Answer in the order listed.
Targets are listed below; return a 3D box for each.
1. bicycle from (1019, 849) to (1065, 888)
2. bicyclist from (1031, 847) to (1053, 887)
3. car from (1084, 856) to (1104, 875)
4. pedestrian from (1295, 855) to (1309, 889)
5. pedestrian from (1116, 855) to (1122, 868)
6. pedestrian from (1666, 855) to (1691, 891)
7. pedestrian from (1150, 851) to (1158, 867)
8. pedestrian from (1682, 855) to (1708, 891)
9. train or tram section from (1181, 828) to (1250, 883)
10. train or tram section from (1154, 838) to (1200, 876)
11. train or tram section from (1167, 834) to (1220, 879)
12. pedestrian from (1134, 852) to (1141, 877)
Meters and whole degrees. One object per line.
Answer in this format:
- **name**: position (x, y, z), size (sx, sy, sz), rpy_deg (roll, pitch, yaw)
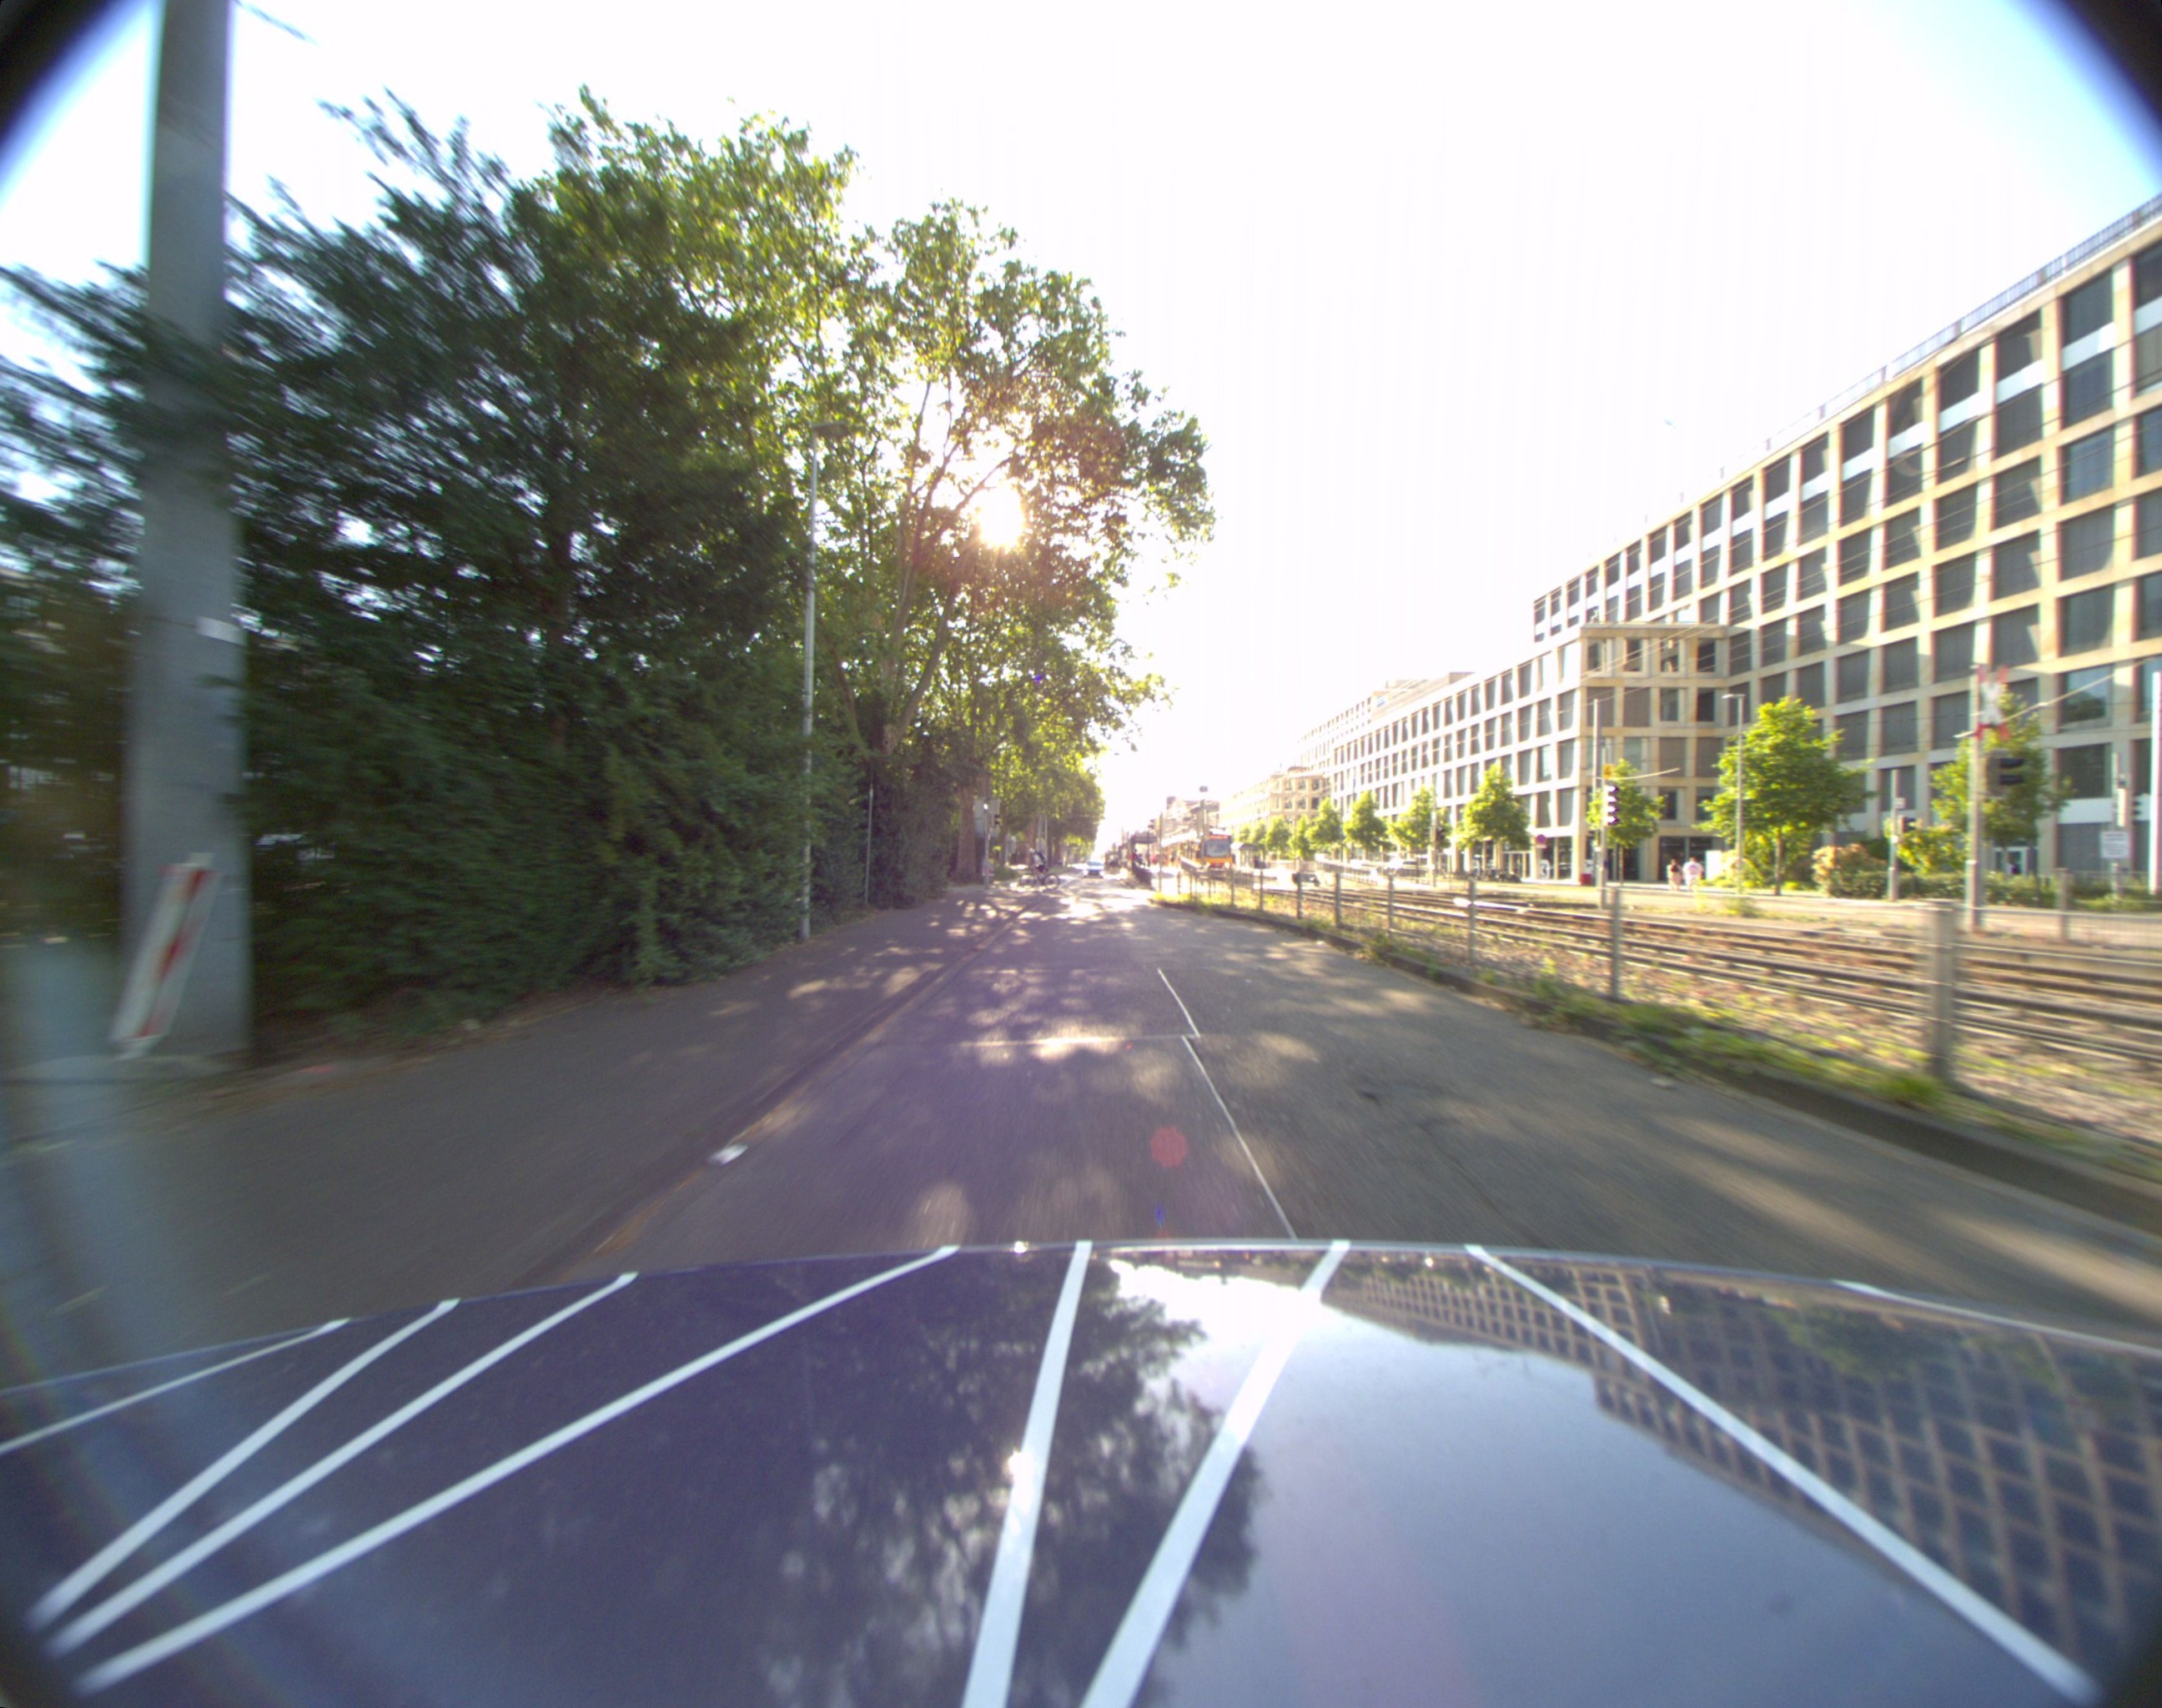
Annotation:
- **bicycle**: position (-1.692, 0.632, 33.290), size (1.972, 1.706, 0.591), rpy_deg (1, 0, -3)
- **bicyclist**: position (-1.715, 0.572, 33.282), size (0.909, 1.706, 0.770), rpy_deg (1, 0, -5)
- **car**: position (1.047, 0.953, 63.186), size (1.649, 1.555, 3.666), rpy_deg (1, 0, 0)
- **pedestrian**: position (11.373, 0.906, 39.123), size (0.670, 1.706, 0.725), rpy_deg (1, 0, 13)
- **pedestrian**: position (5.016, 1.010, 100.954), size (0.614, 1.632, 0.612), rpy_deg (1, 0, -19)
- **pedestrian**: position (28.307, 0.904, 35.993), size (0.665, 1.706, 0.671), rpy_deg (1, 0, -1)
- **pedestrian**: position (8.163, 0.529, 85.185), size (0.795, 1.774, 0.625), rpy_deg (1, 0, 1)
- **pedestrian**: position (29.089, 0.895, 35.976), size (0.665, 1.706, 0.671), rpy_deg (1, 0, -1)
- **train or tram section**: position (10.046, 0.162, 58.251), size (3.317, 3.806, 11.844), rpy_deg (1, 0, 1)
- **train or tram section**: position (10.321, 0.393, 83.476), size (3.317, 3.806, 14.220), rpy_deg (1, 0, 1)
- **train or tram section**: position (10.179, 0.275, 70.160), size (3.317, 3.806, 11.844), rpy_deg (1, 0, 1)
- **pedestrian**: position (3.883, 0.695, 52.390), size (0.413, 1.706, 0.666), rpy_deg (1, 0, 1)
